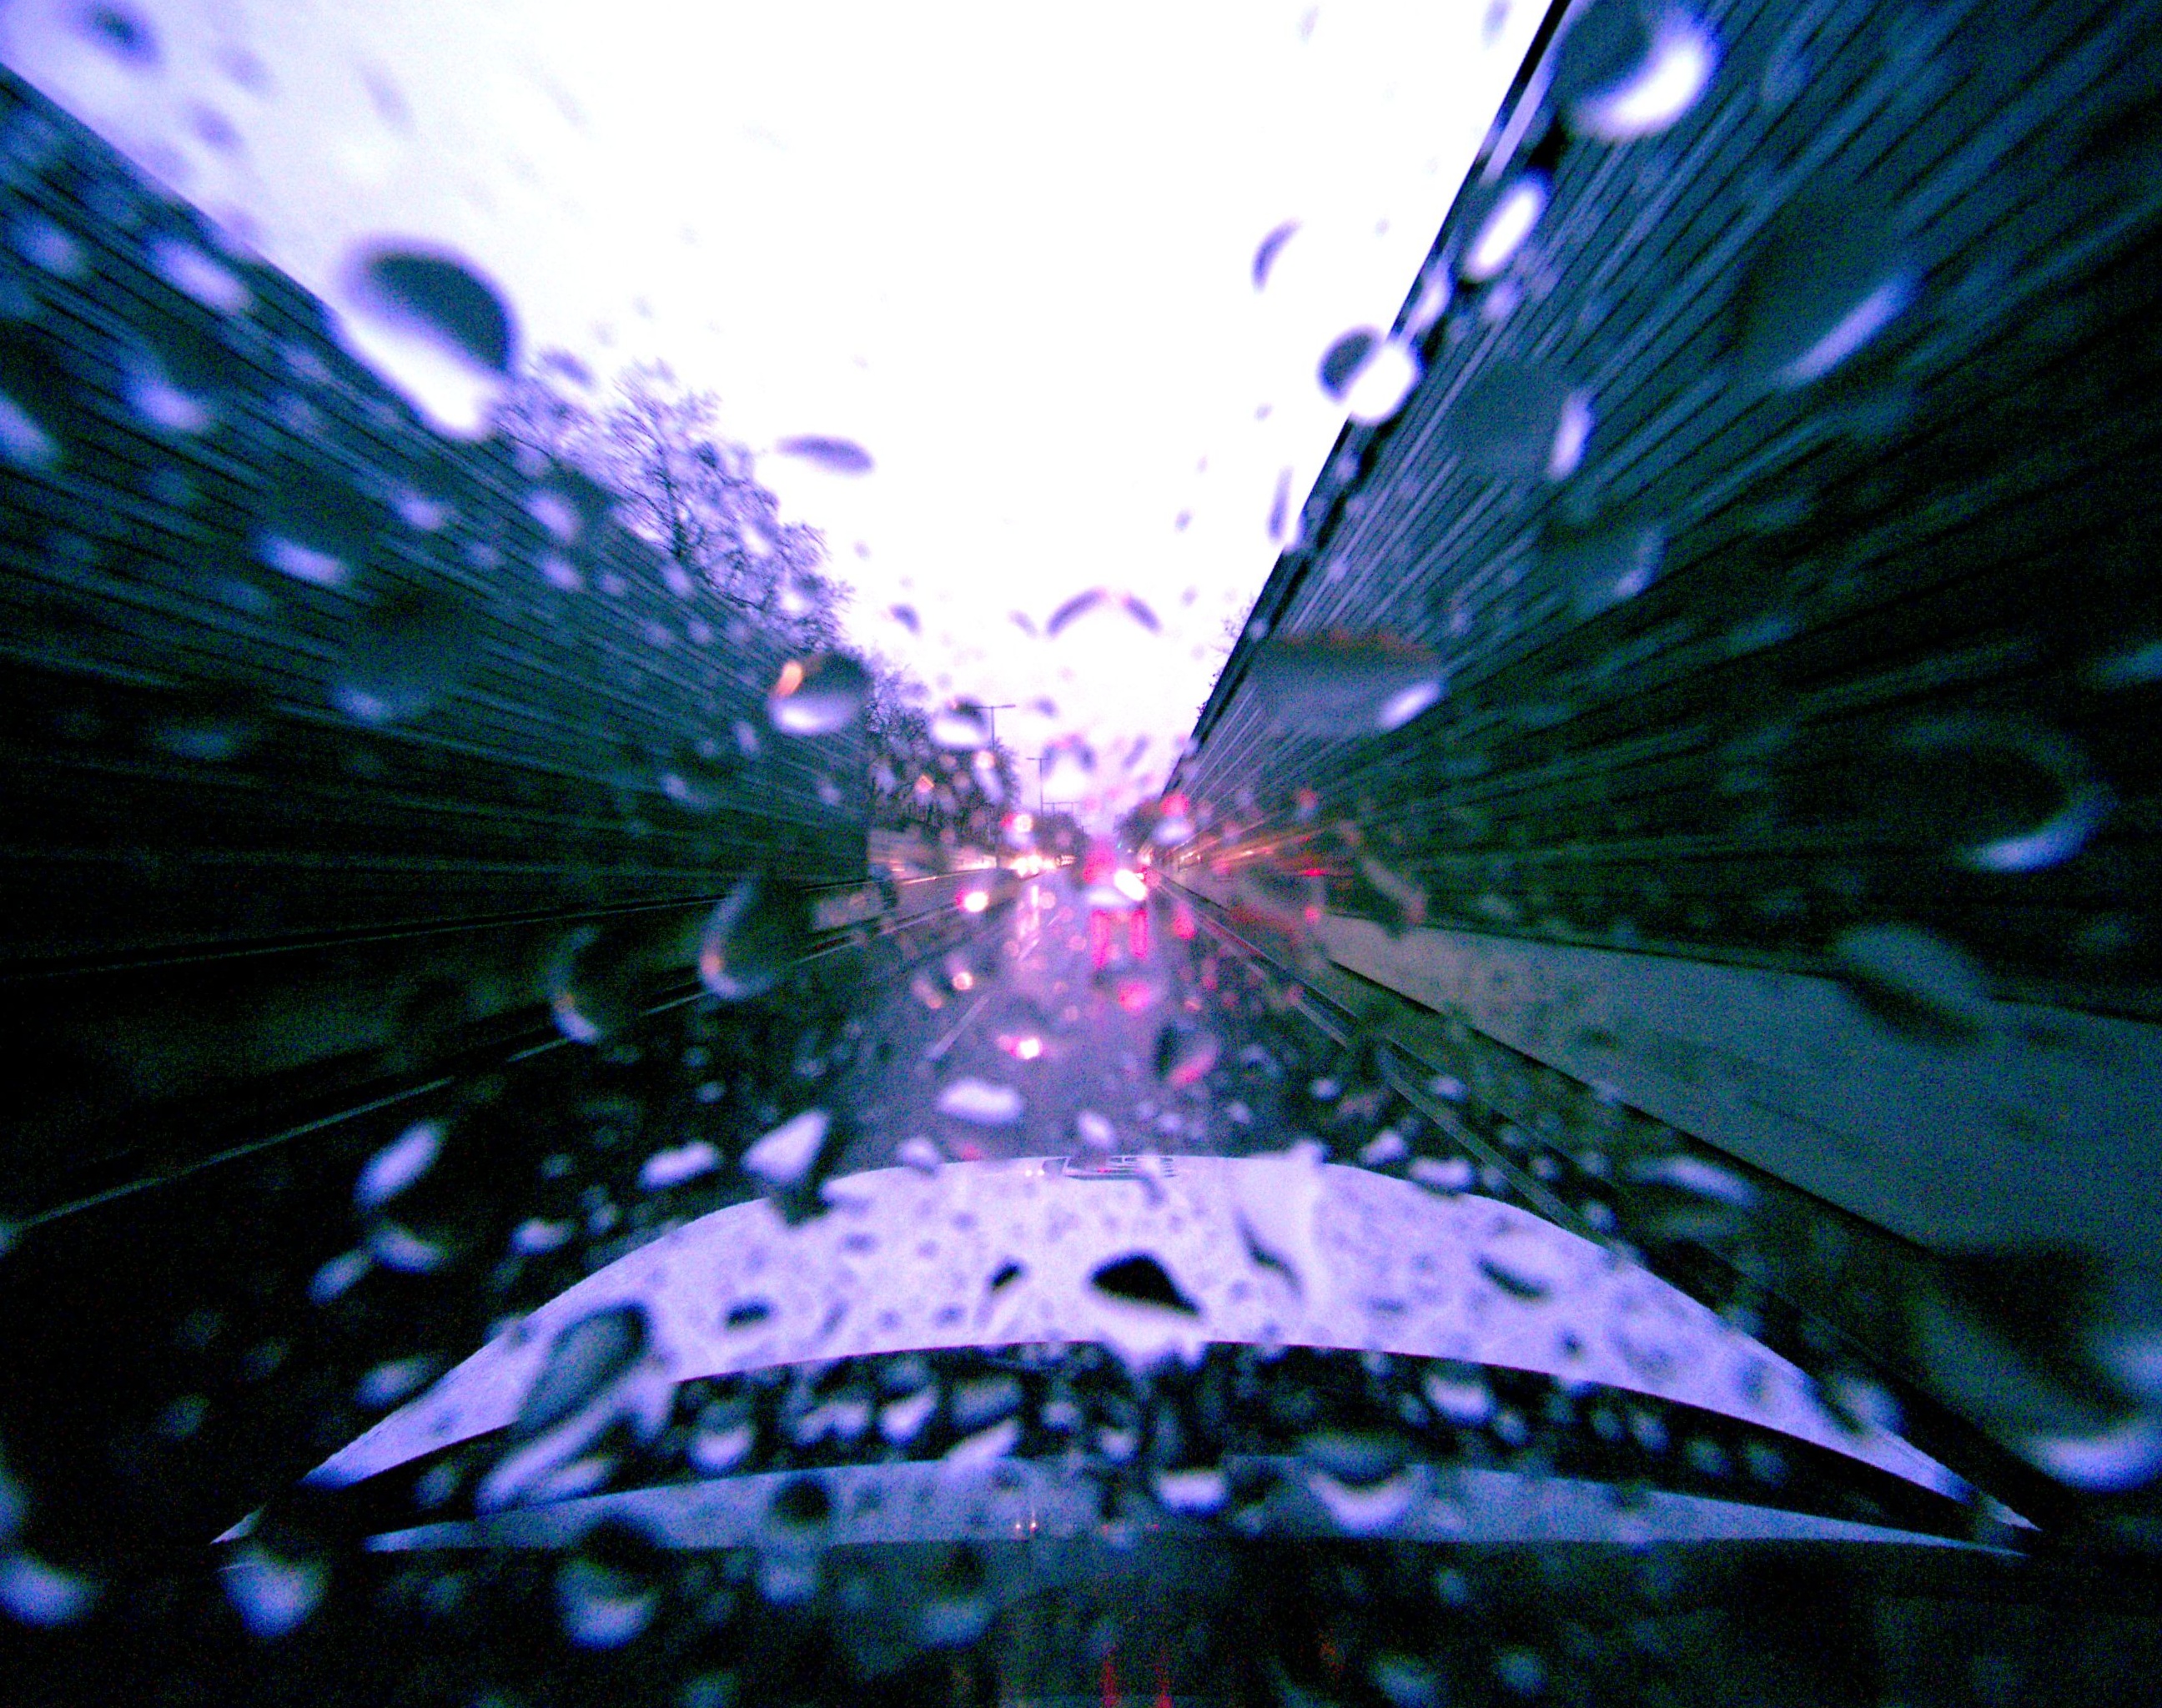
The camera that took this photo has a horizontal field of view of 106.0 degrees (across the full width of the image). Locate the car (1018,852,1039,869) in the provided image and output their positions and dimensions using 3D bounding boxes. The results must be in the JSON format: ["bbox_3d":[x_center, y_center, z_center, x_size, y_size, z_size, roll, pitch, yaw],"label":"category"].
[{"bbox_3d":[-5.083,0.603,78.685,1.566,1.470,3.688,-3,1,2],"label":"car"}]

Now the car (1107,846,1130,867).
[{"bbox_3d":[3.270,0.237,72.355,1.874,1.621,3.999,-1,-3,0],"label":"car"}]

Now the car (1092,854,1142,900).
[{"bbox_3d":[1.184,0.760,26.992,1.526,1.397,3.435,-1,-2,2],"label":"car"}]
